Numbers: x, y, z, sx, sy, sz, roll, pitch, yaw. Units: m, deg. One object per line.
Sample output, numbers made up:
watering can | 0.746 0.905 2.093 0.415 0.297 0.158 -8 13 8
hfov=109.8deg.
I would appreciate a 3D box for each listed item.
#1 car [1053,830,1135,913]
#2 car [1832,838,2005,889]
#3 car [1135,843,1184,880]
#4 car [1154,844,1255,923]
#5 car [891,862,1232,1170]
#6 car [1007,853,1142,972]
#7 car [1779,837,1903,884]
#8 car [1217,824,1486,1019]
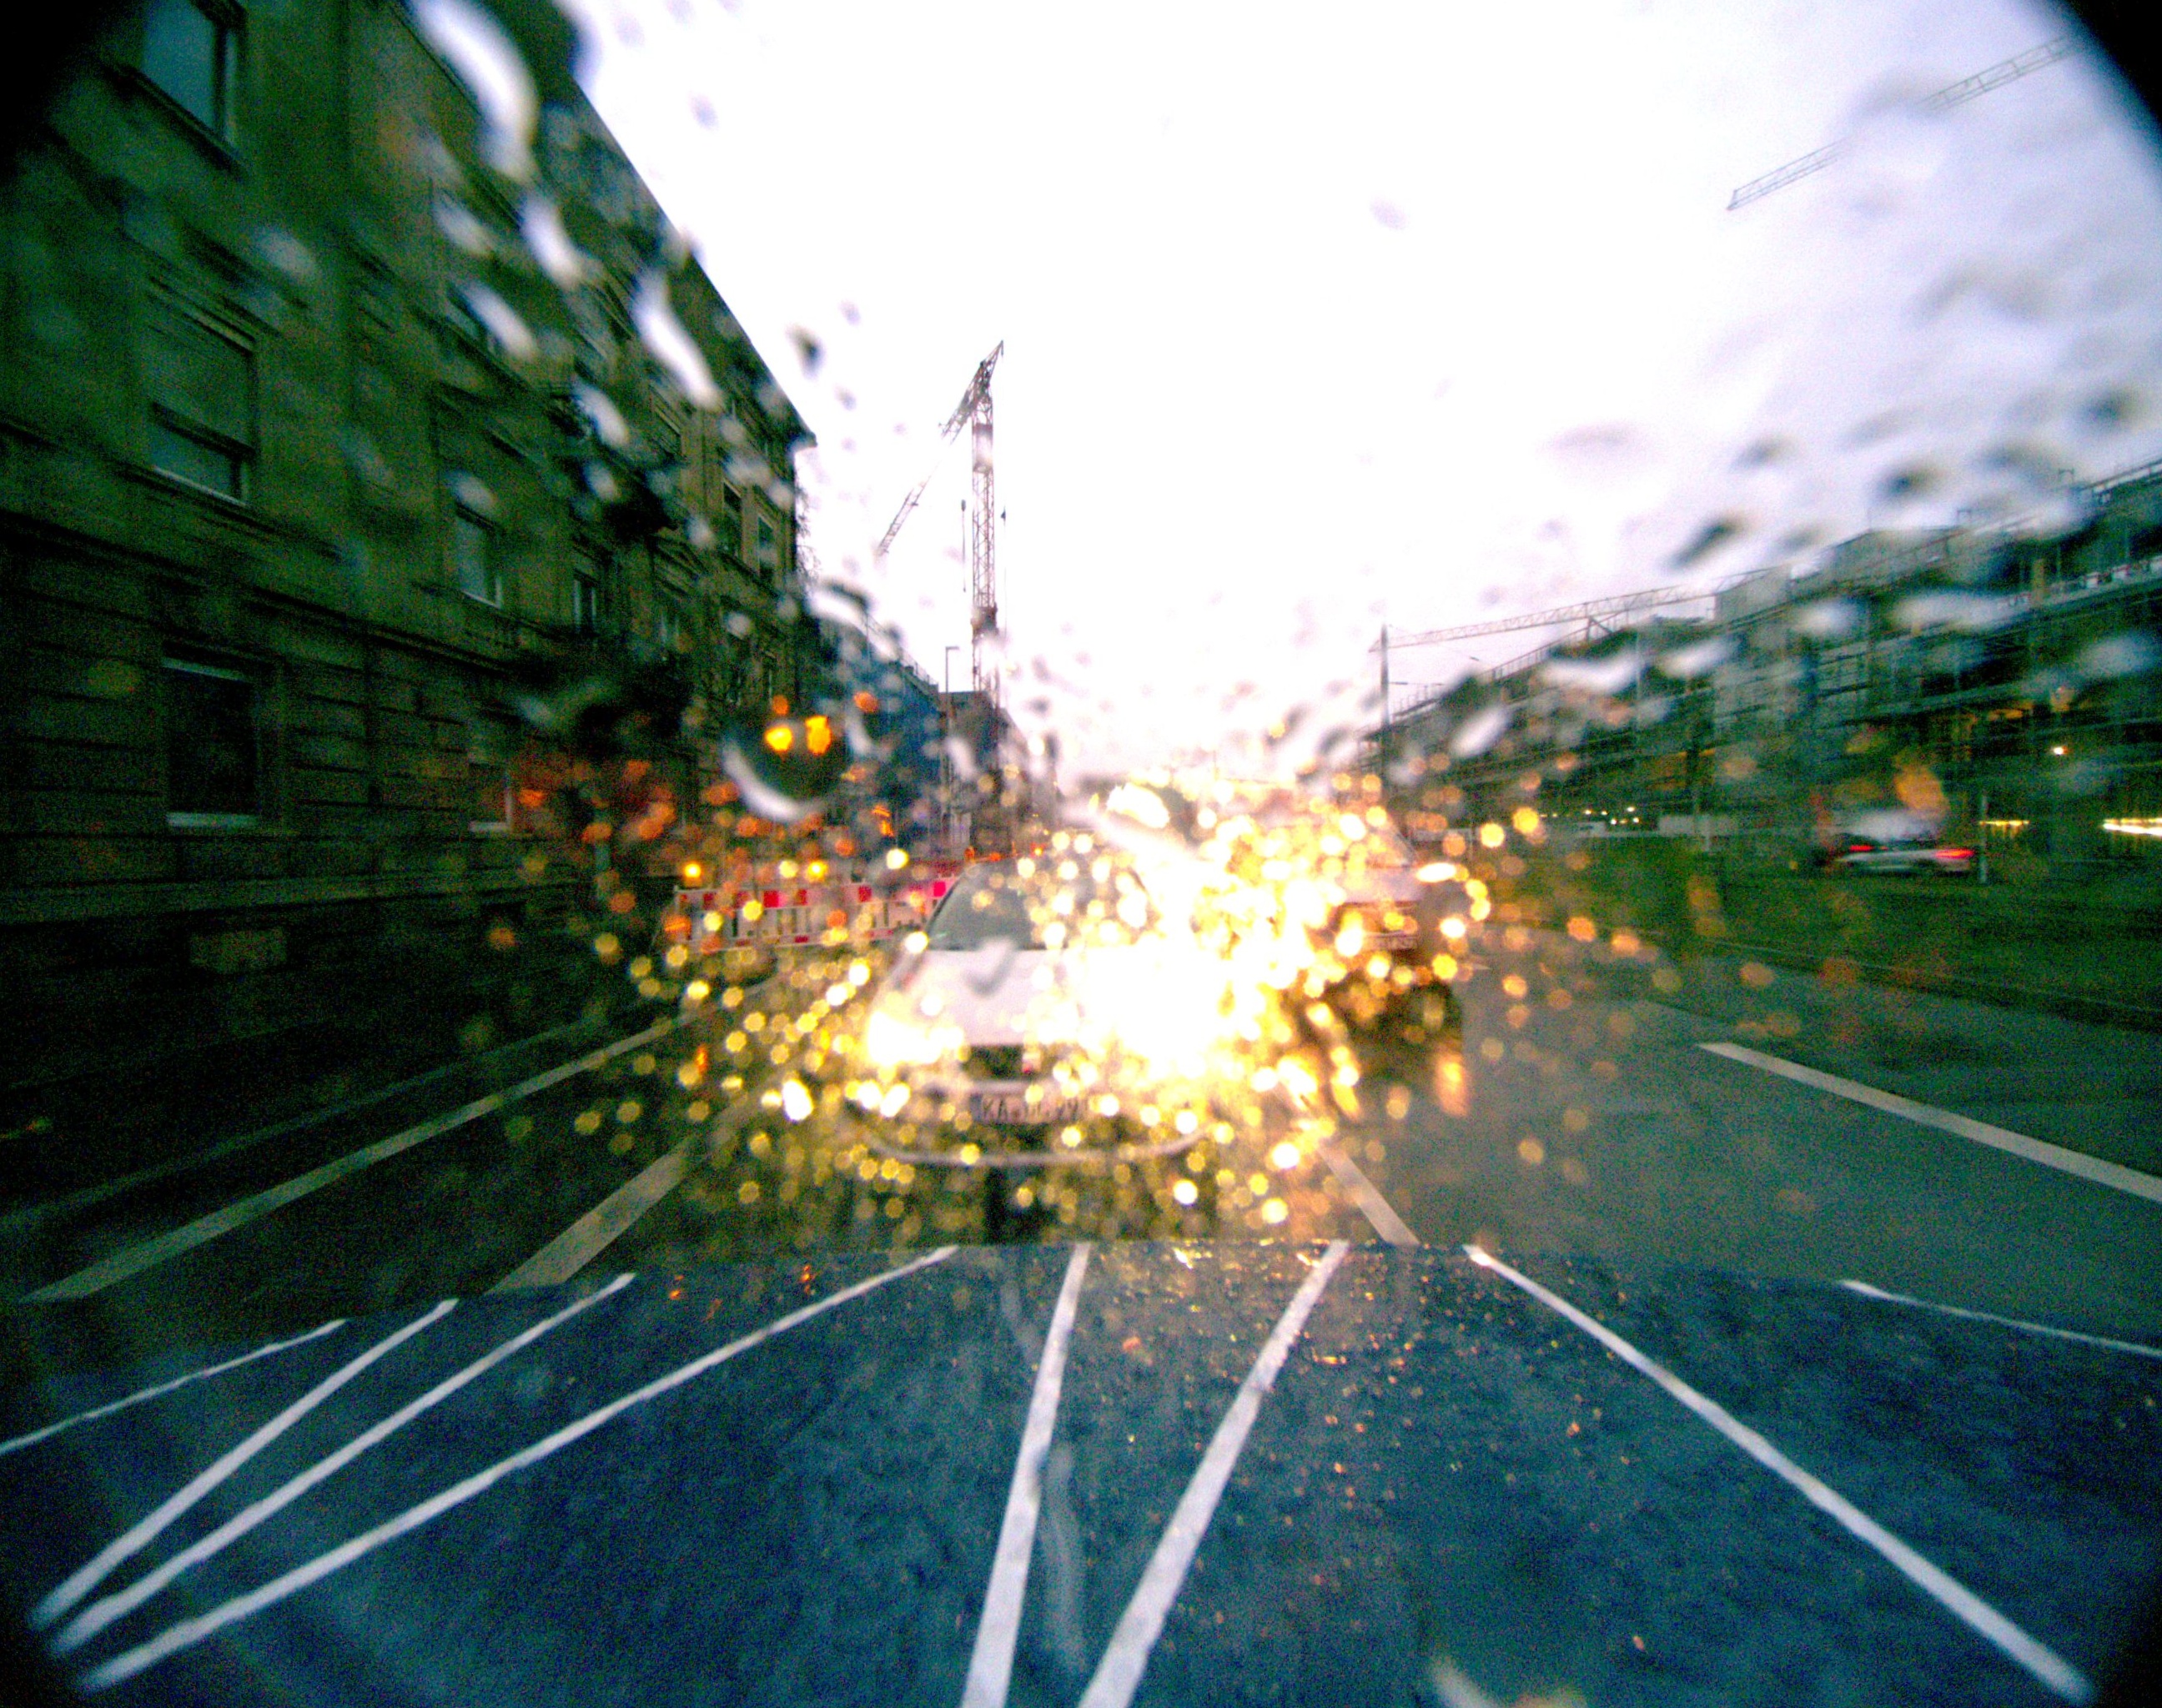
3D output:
car | 0.264 0.354 19.880 1.858 1.886 3.998 -2 2 -1
car | 31.395 0.292 28.694 1.958 1.677 4.082 -2 2 -2
car | 3.617 0.311 35.650 1.844 1.547 3.999 -2 2 0
car | 2.945 0.632 18.999 1.844 1.645 4.323 -2 2 1
car | -0.136 0.882 6.036 1.764 1.444 3.998 -2 2 -1
car | -0.125 0.786 12.169 1.764 1.444 3.998 -2 2 -1
car | 36.967 0.270 37.124 1.957 2.111 4.082 -2 2 0
car | 2.814 0.570 8.892 1.857 1.724 4.000 -2 2 3
